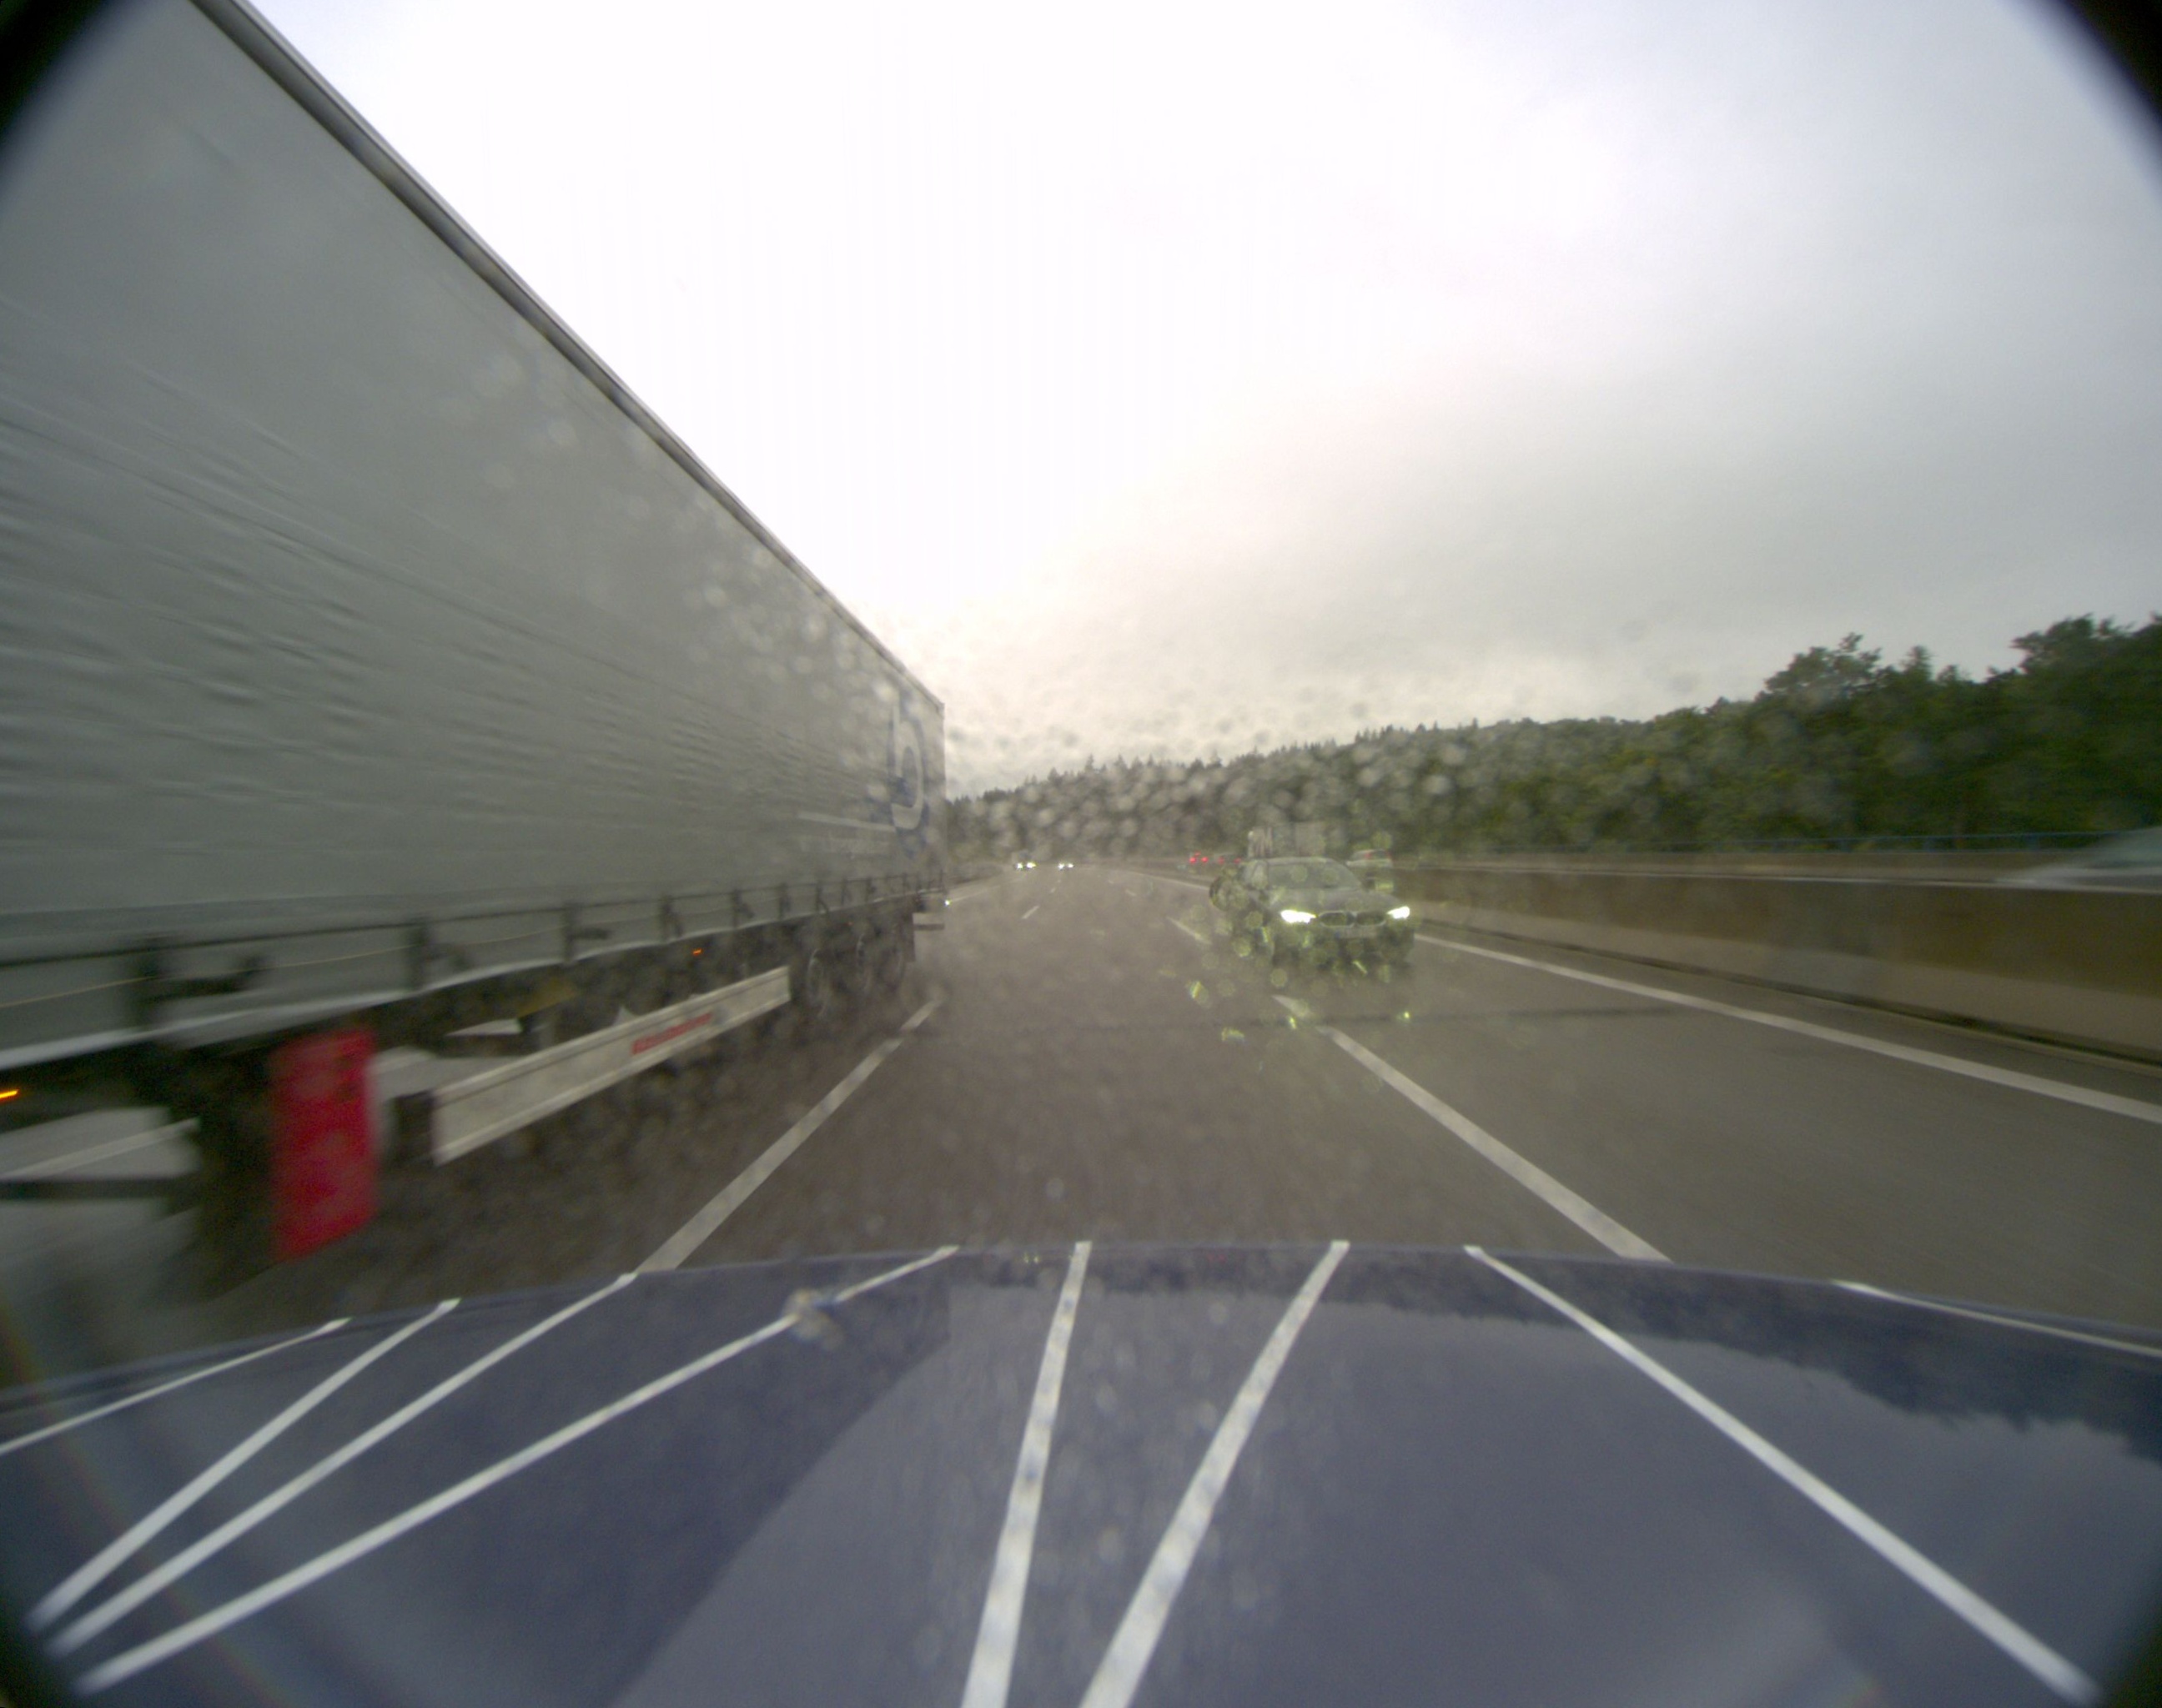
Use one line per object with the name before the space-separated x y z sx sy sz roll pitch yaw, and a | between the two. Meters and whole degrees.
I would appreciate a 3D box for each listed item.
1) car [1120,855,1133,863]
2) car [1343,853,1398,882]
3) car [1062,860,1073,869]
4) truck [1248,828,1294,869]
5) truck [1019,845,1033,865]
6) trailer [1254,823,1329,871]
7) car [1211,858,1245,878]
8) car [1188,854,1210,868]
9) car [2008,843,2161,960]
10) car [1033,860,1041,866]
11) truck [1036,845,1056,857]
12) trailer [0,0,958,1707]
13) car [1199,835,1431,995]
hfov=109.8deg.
car | 9.201 1.099 154.793 1.999 1.539 4.216 -2 0 -4
car | 16.036 0.744 42.278 1.661 1.512 3.638 -2 0 1
car | -2.105 1.589 120.979 1.717 1.398 4.935 0 -1 -1
truck | 19.382 -0.540 78.055 2.954 4.009 6.381 -2 0 -1
truck | -11.915 0.339 163.044 2.739 4.126 8.617 0 -1 -6
trailer | 19.446 -0.547 71.325 2.954 4.009 13.787 -2 0 -1
car | 12.271 1.114 63.598 1.890 1.539 4.777 -2 0 1
car | 13.209 0.767 85.235 1.788 1.539 3.887 -2 0 1
car | 15.411 0.631 9.807 1.709 1.568 4.268 -1 0 1
car | -10.575 2.224 182.488 1.717 1.398 4.935 0 -1 -2
truck | -11.989 -0.989 257.771 3.545 3.655 11.900 -2 0 -19
trailer | -3.439 -0.231 5.327 2.686 4.017 13.705 -2 0 1
car | 3.348 0.756 12.410 1.912 1.933 6.162 -1 0 0
